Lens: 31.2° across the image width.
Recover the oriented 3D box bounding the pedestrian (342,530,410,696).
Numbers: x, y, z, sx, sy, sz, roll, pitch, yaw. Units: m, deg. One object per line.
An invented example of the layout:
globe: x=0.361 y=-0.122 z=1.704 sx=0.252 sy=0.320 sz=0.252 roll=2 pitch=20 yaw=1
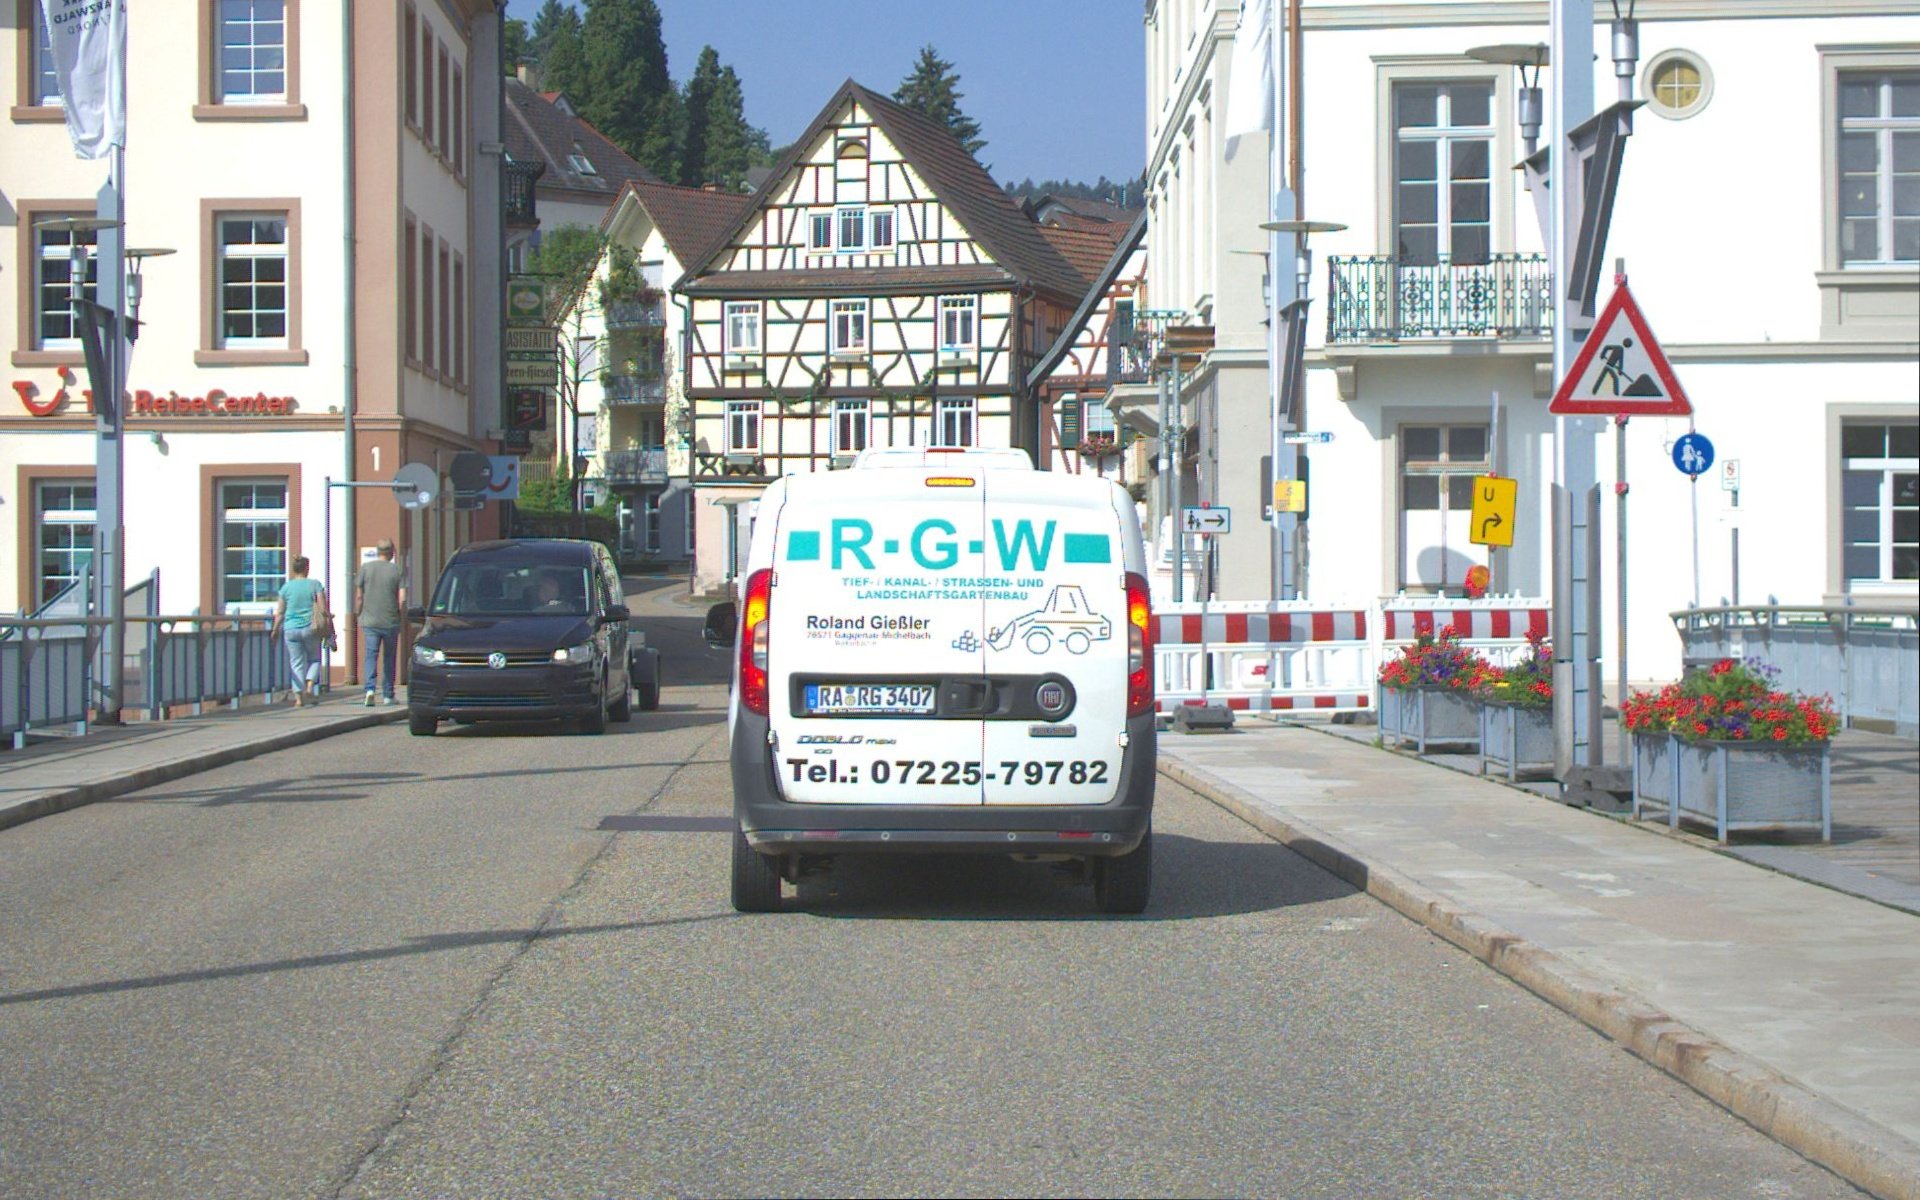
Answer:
pedestrian: x=-6.274 y=0.133 z=36.959 sx=0.614 sy=1.756 sz=0.864 roll=1 pitch=1 yaw=-3

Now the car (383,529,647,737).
car: x=-4.112 y=0.238 z=32.450 sx=1.777 sy=1.786 sz=4.697 roll=1 pitch=1 yaw=1

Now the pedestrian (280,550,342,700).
pedestrian: x=-7.040 y=0.271 z=37.292 sx=0.583 sy=1.604 sz=0.537 roll=1 pitch=1 yaw=-3

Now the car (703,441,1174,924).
car: x=-0.243 y=0.313 z=15.761 sx=1.844 sy=1.899 sz=4.315 roll=1 pitch=0 yaw=-4

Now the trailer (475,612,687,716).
trailer: x=-4.004 y=0.657 z=36.917 sx=1.750 sy=1.019 sz=4.185 roll=-1 pitch=0 yaw=1

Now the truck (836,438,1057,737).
truck: x=-0.196 y=-0.130 z=31.924 sx=1.861 sy=2.576 sz=4.261 roll=0 pitch=1 yaw=-3
